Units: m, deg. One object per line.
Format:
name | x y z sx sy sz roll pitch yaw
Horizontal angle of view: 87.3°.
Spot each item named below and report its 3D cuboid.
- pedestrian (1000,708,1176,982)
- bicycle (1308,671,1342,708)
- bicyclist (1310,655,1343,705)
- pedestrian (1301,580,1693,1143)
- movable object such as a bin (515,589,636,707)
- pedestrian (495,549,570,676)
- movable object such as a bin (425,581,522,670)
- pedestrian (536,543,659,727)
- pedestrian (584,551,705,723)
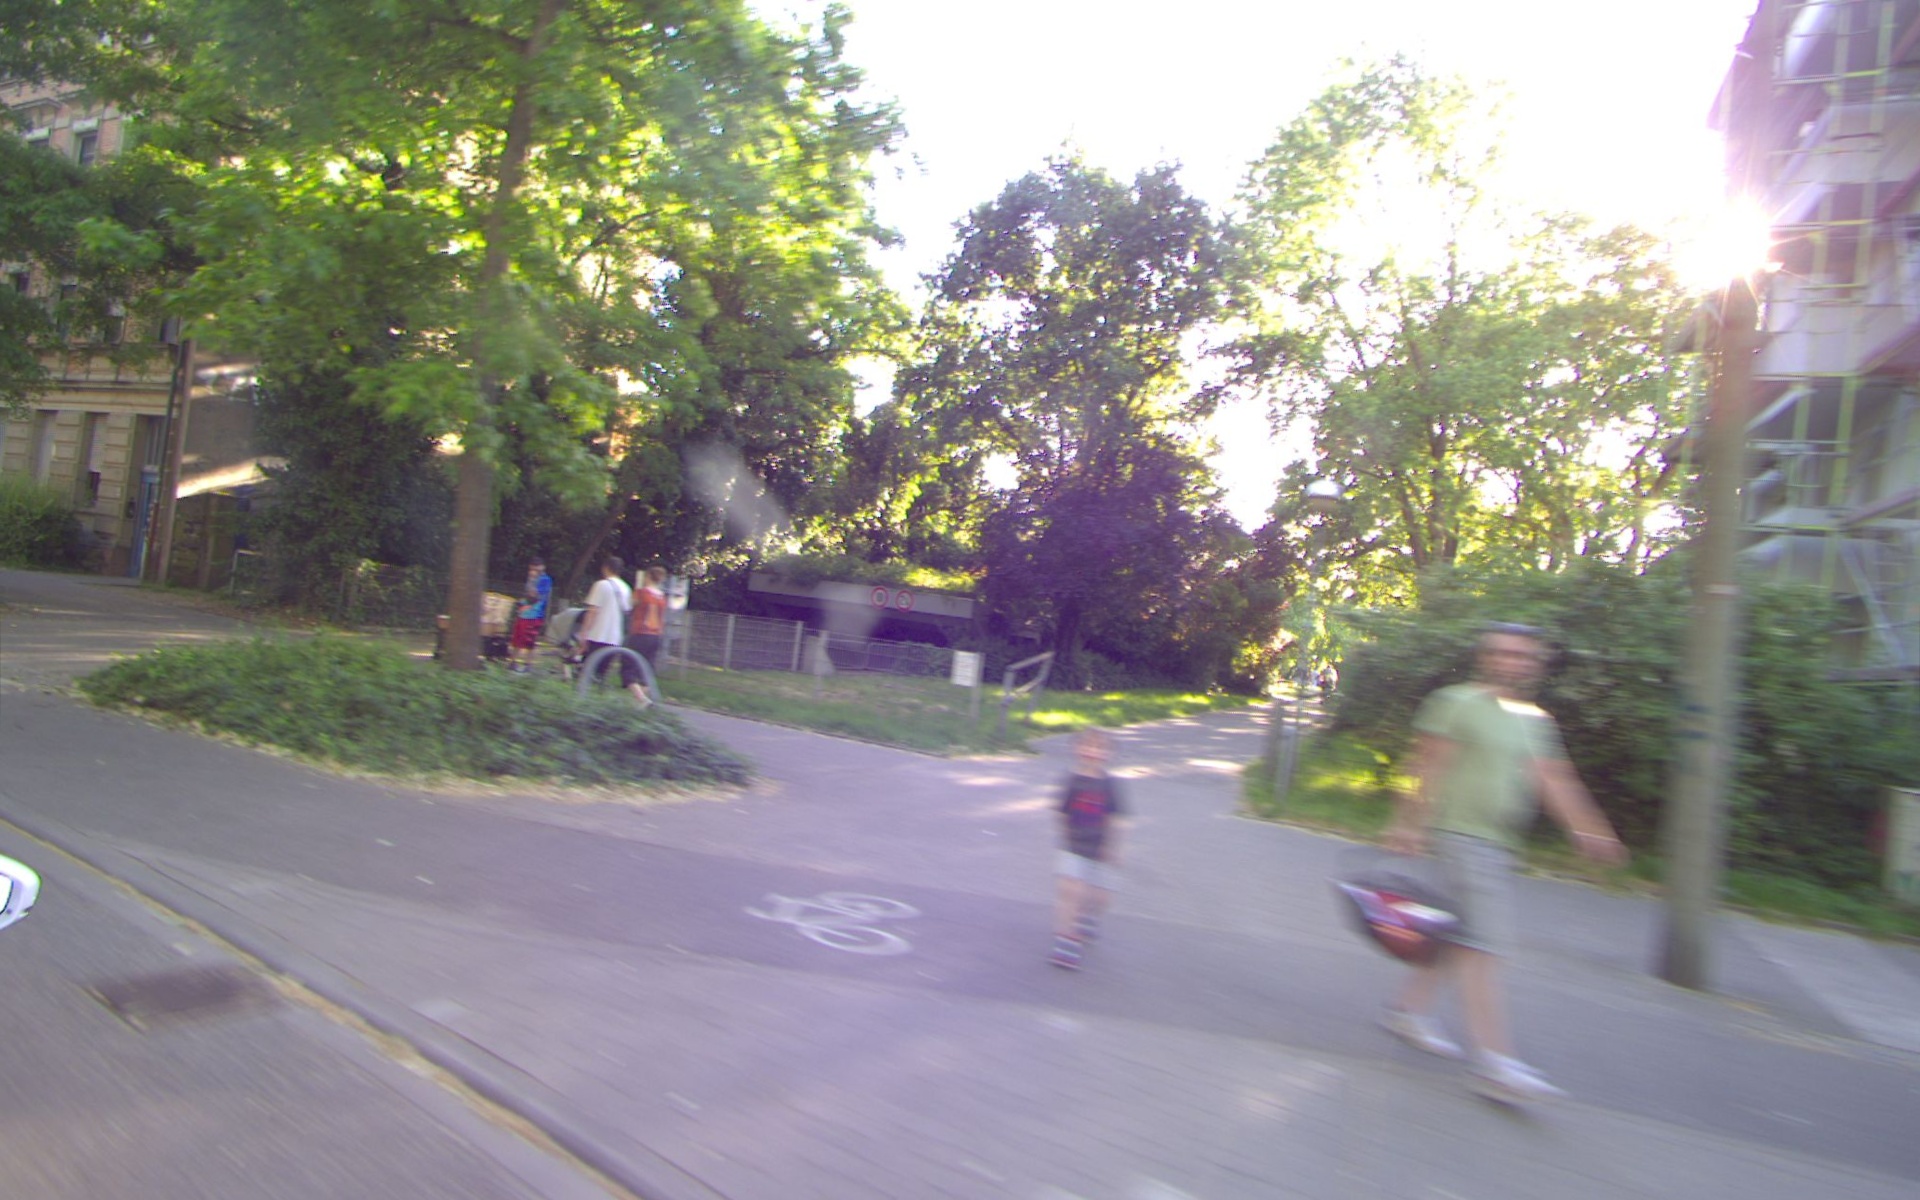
pedestrian | 0.600 1.156 4.949 0.647 1.131 0.677 7 -2 0
bicycle | 14.073 3.464 38.721 0.919 1.280 2.691 7 -3 25
bicyclist | 14.102 3.076 38.671 0.919 1.764 1.068 7 -2 25
pedestrian | 2.104 0.962 4.114 0.979 1.906 0.871 7 -2 8
movable object such as a bin | -4.546 0.558 11.879 1.285 1.217 0.639 7 1 36
pedestrian | -6.189 0.190 14.591 0.543 1.745 0.620 7 -1 10
movable object such as a bin | -7.083 0.379 14.657 0.939 1.139 0.668 7 -2 18
pedestrian | -3.862 0.369 10.713 0.840 1.816 0.726 7 1 36
pedestrian | -3.591 0.413 11.443 0.953 1.816 0.726 7 1 36
